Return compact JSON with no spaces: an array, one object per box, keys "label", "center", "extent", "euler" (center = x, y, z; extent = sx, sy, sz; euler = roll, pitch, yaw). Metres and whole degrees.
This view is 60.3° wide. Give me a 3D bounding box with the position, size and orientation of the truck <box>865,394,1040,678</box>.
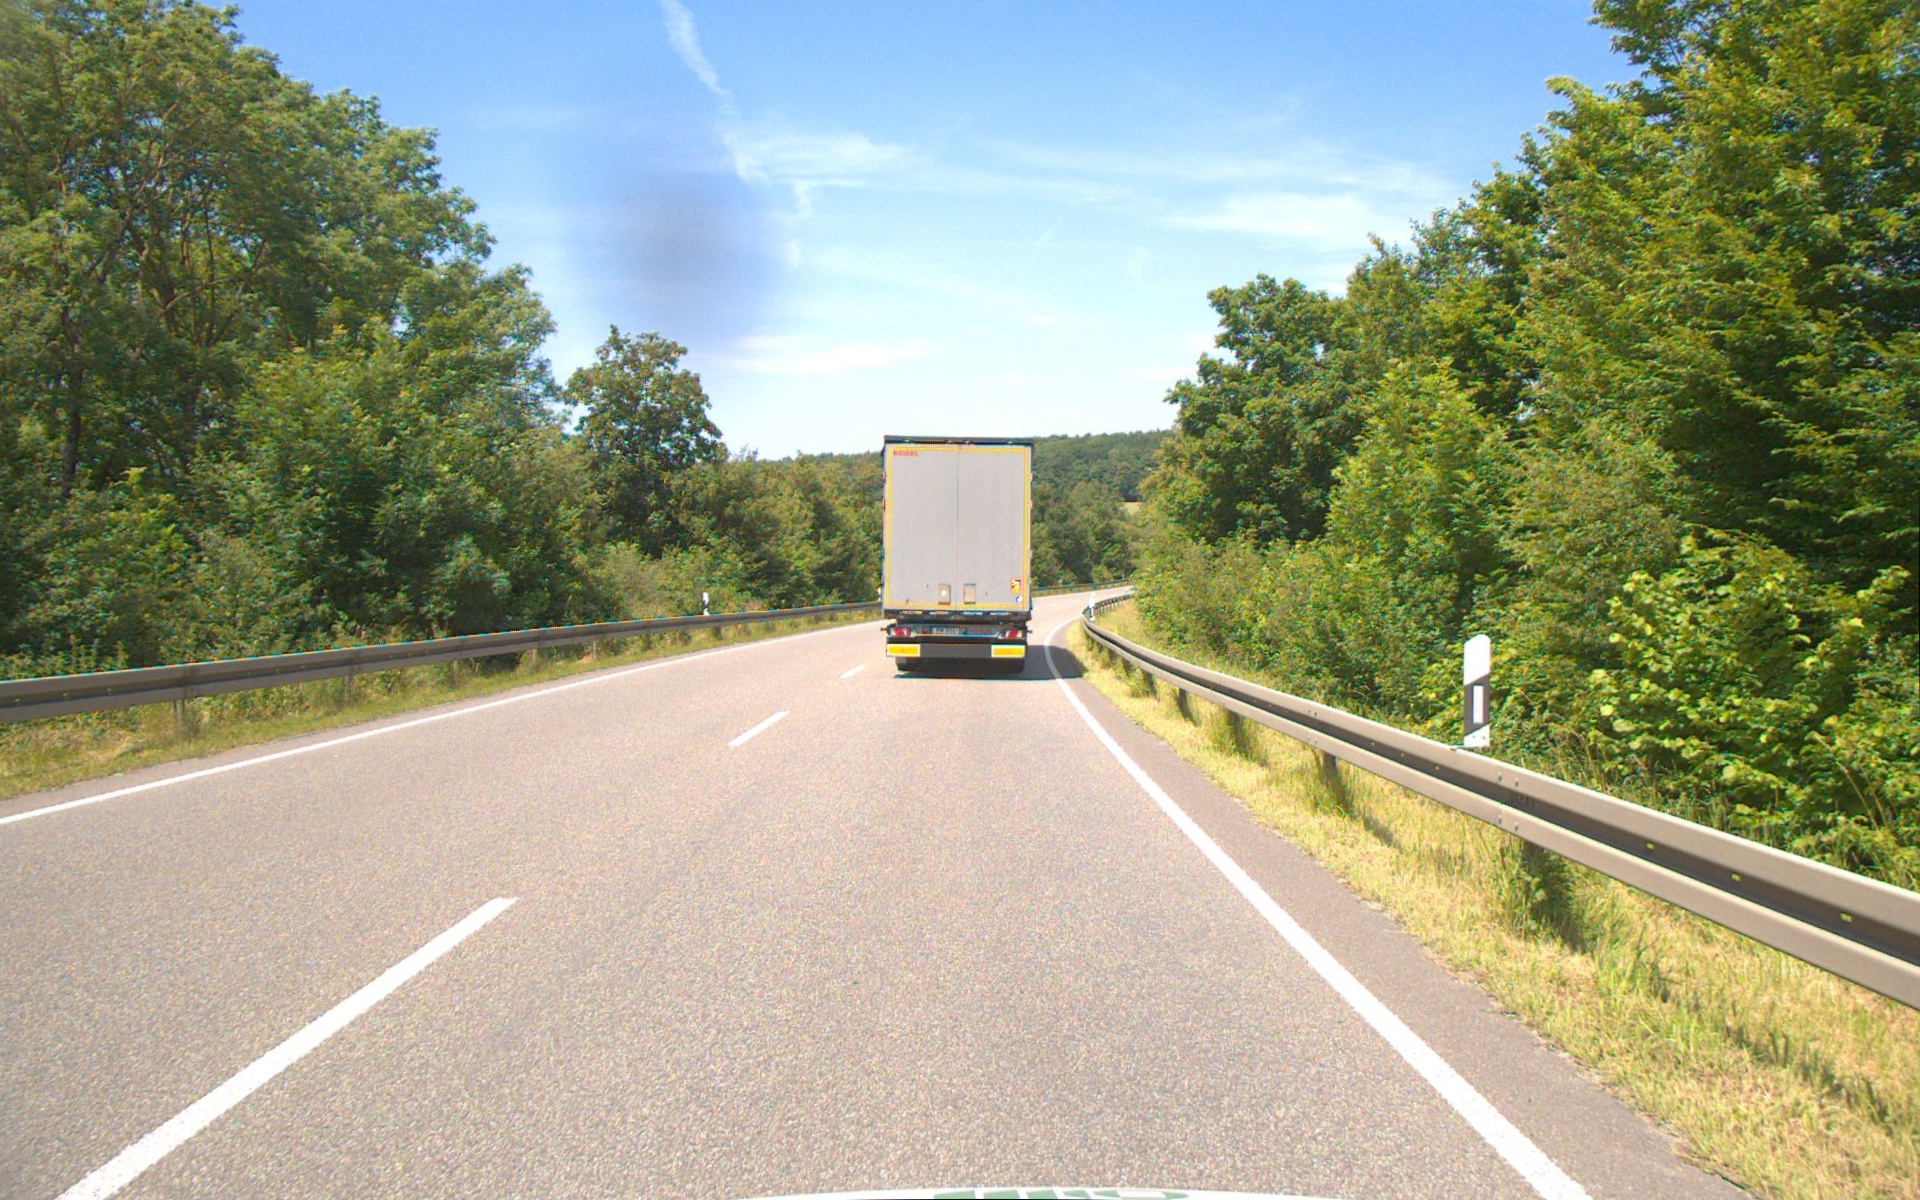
[{"label":"truck","center":[-0.007,-1.053,33.297],"extent":[2.759,4.612,11.769],"euler":[2,0,1]}]
